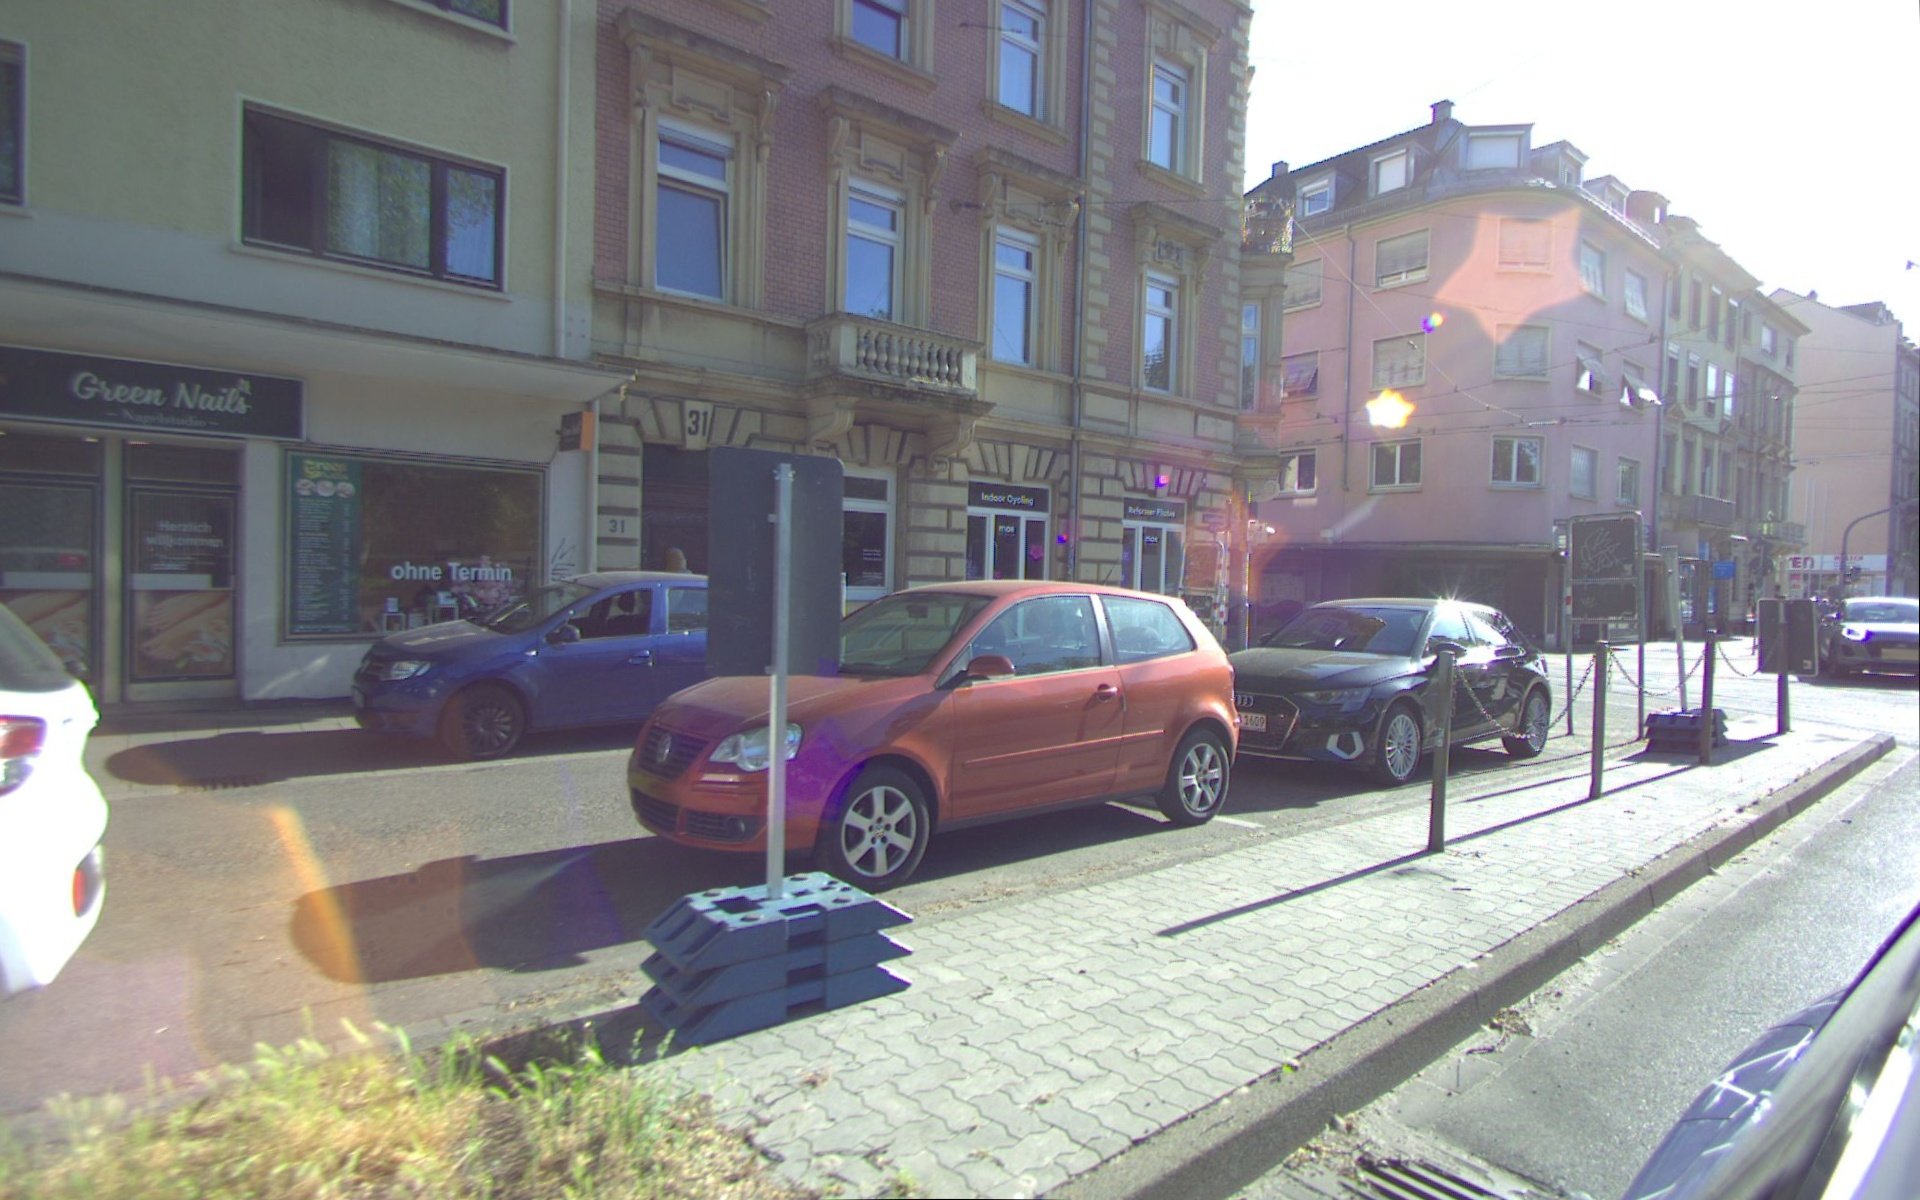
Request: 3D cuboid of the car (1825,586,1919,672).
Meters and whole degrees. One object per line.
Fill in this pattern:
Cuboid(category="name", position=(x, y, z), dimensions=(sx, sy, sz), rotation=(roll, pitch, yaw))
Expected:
Cuboid(category="car", position=(17.844, 0.524, 19.372), dimensions=(1.651, 1.500, 3.920), rotation=(0, 0, 36))

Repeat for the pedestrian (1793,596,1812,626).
Cuboid(category="pedestrian", position=(36.546, 0.464, 43.896), dimensions=(0.647, 1.275, 0.495), rotation=(0, 1, -37))

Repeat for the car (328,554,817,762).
Cuboid(category="car", position=(-3.496, 0.418, 9.525), dimensions=(3.931, 1.498, 1.697), rotation=(1, 3, -42))

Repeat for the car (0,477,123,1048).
Cuboid(category="car", position=(-4.226, 0.411, 2.223), dimensions=(3.633, 1.496, 1.628), rotation=(1, 0, -41))

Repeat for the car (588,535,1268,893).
Cuboid(category="car", position=(0.015, 0.473, 5.956), dimensions=(3.835, 1.453, 1.592), rotation=(1, 0, -39))

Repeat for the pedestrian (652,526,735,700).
Cuboid(category="pedestrian", position=(-3.247, 0.155, 12.329), dimensions=(0.836, 2.039, 0.513), rotation=(1, -1, -36))

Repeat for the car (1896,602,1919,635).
Cuboid(category="car", position=(45.880, 0.864, 46.551), dimensions=(3.924, 1.469, 1.817), rotation=(0, 0, 0))

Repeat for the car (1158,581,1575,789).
Cuboid(category="car", position=(3.746, 0.602, 8.993), dimensions=(4.094, 1.439, 1.700), rotation=(1, 0, -40))

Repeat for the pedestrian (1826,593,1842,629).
Cuboid(category="pedestrian", position=(43.767, 0.552, 50.685), dimensions=(0.648, 1.784, 0.495), rotation=(0, 1, -39))

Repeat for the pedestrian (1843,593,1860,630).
Cuboid(category="pedestrian", position=(44.057, 0.573, 50.011), dimensions=(0.648, 1.784, 0.495), rotation=(0, 1, -39))
